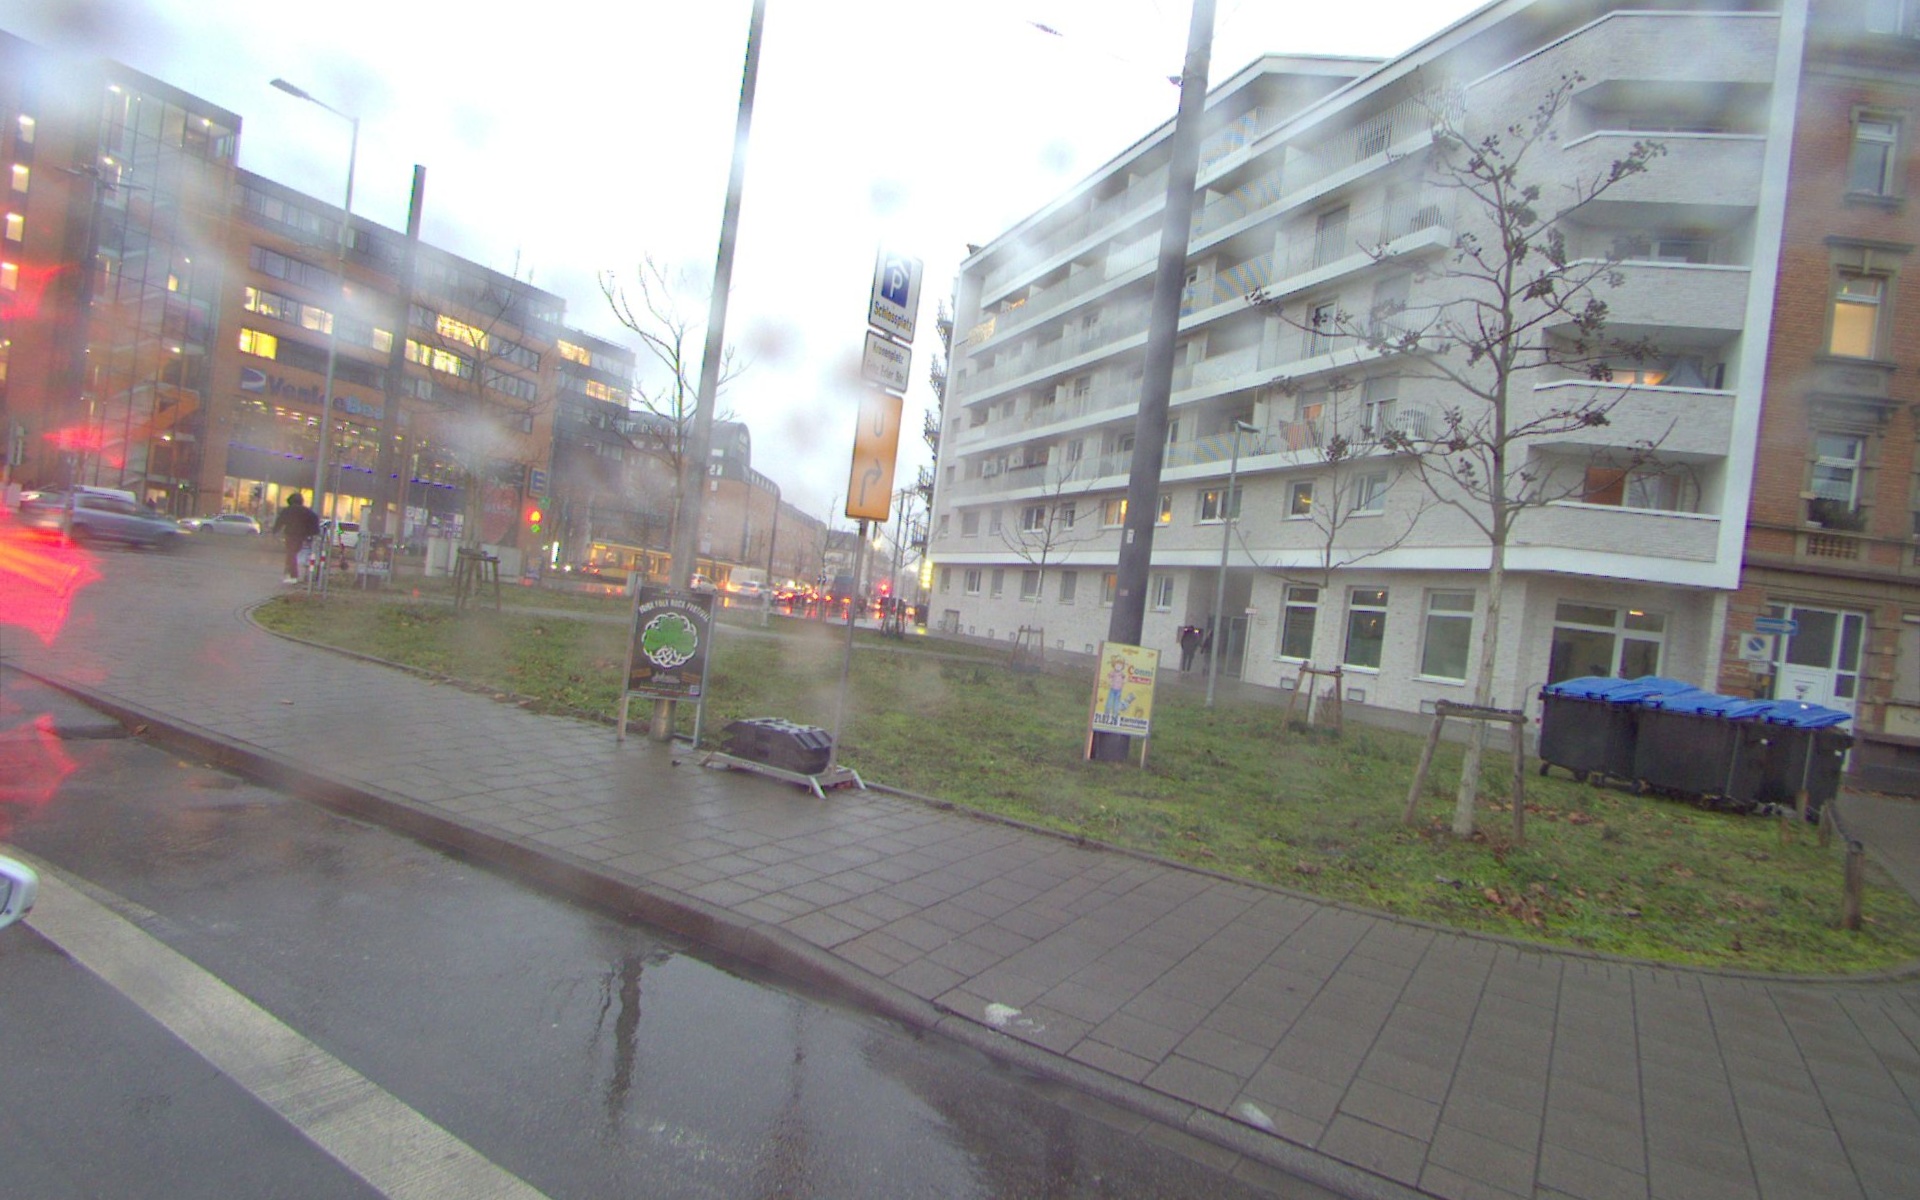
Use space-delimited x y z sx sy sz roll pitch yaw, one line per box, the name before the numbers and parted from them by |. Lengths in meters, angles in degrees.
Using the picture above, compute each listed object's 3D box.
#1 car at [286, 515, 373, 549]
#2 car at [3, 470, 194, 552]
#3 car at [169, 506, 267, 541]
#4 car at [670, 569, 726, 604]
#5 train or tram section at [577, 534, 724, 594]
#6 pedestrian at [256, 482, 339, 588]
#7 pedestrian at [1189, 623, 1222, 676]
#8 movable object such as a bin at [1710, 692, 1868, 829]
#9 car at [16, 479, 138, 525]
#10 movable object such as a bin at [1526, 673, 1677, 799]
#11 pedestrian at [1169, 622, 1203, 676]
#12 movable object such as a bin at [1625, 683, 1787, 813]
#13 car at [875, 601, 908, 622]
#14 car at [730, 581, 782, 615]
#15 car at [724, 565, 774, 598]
car | -41.273 -4.426 65.957 1.767 1.553 4.444 7 -1 25
car | -26.909 -2.724 31.598 1.963 1.898 3.998 8 1 21
car | -43.746 -4.501 59.421 1.767 1.406 4.227 7 -1 25
car | -19.900 -0.970 76.564 1.963 2.036 4.003 8 -2 22
train or tram section | -24.771 -2.709 82.298 2.293 3.300 16.666 7 -1 17
pedestrian | -13.667 -1.320 20.759 1.164 1.946 0.890 10 -2 -35
pedestrian | 8.525 1.712 34.920 0.670 1.733 0.625 9 -1 -29
movable object such as a bin | 10.753 2.059 13.082 1.021 1.507 1.039 9 -2 -12
car | -46.322 -5.109 52.884 1.767 1.614 4.431 7 -1 25
movable object such as a bin | 9.045 1.894 14.231 1.017 1.513 1.322 7 0 -21
pedestrian | 7.755 1.675 34.535 0.670 1.733 0.601 9 -1 -29
movable object such as a bin | 9.603 1.886 12.991 1.003 1.434 1.218 6 1 -21
car | -7.037 1.169 103.414 1.962 1.600 4.094 8 -3 16
car | -15.907 -0.161 78.799 1.962 2.036 4.376 8 -2 16
car | -17.570 -1.477 84.196 1.962 2.036 4.957 8 -2 13
